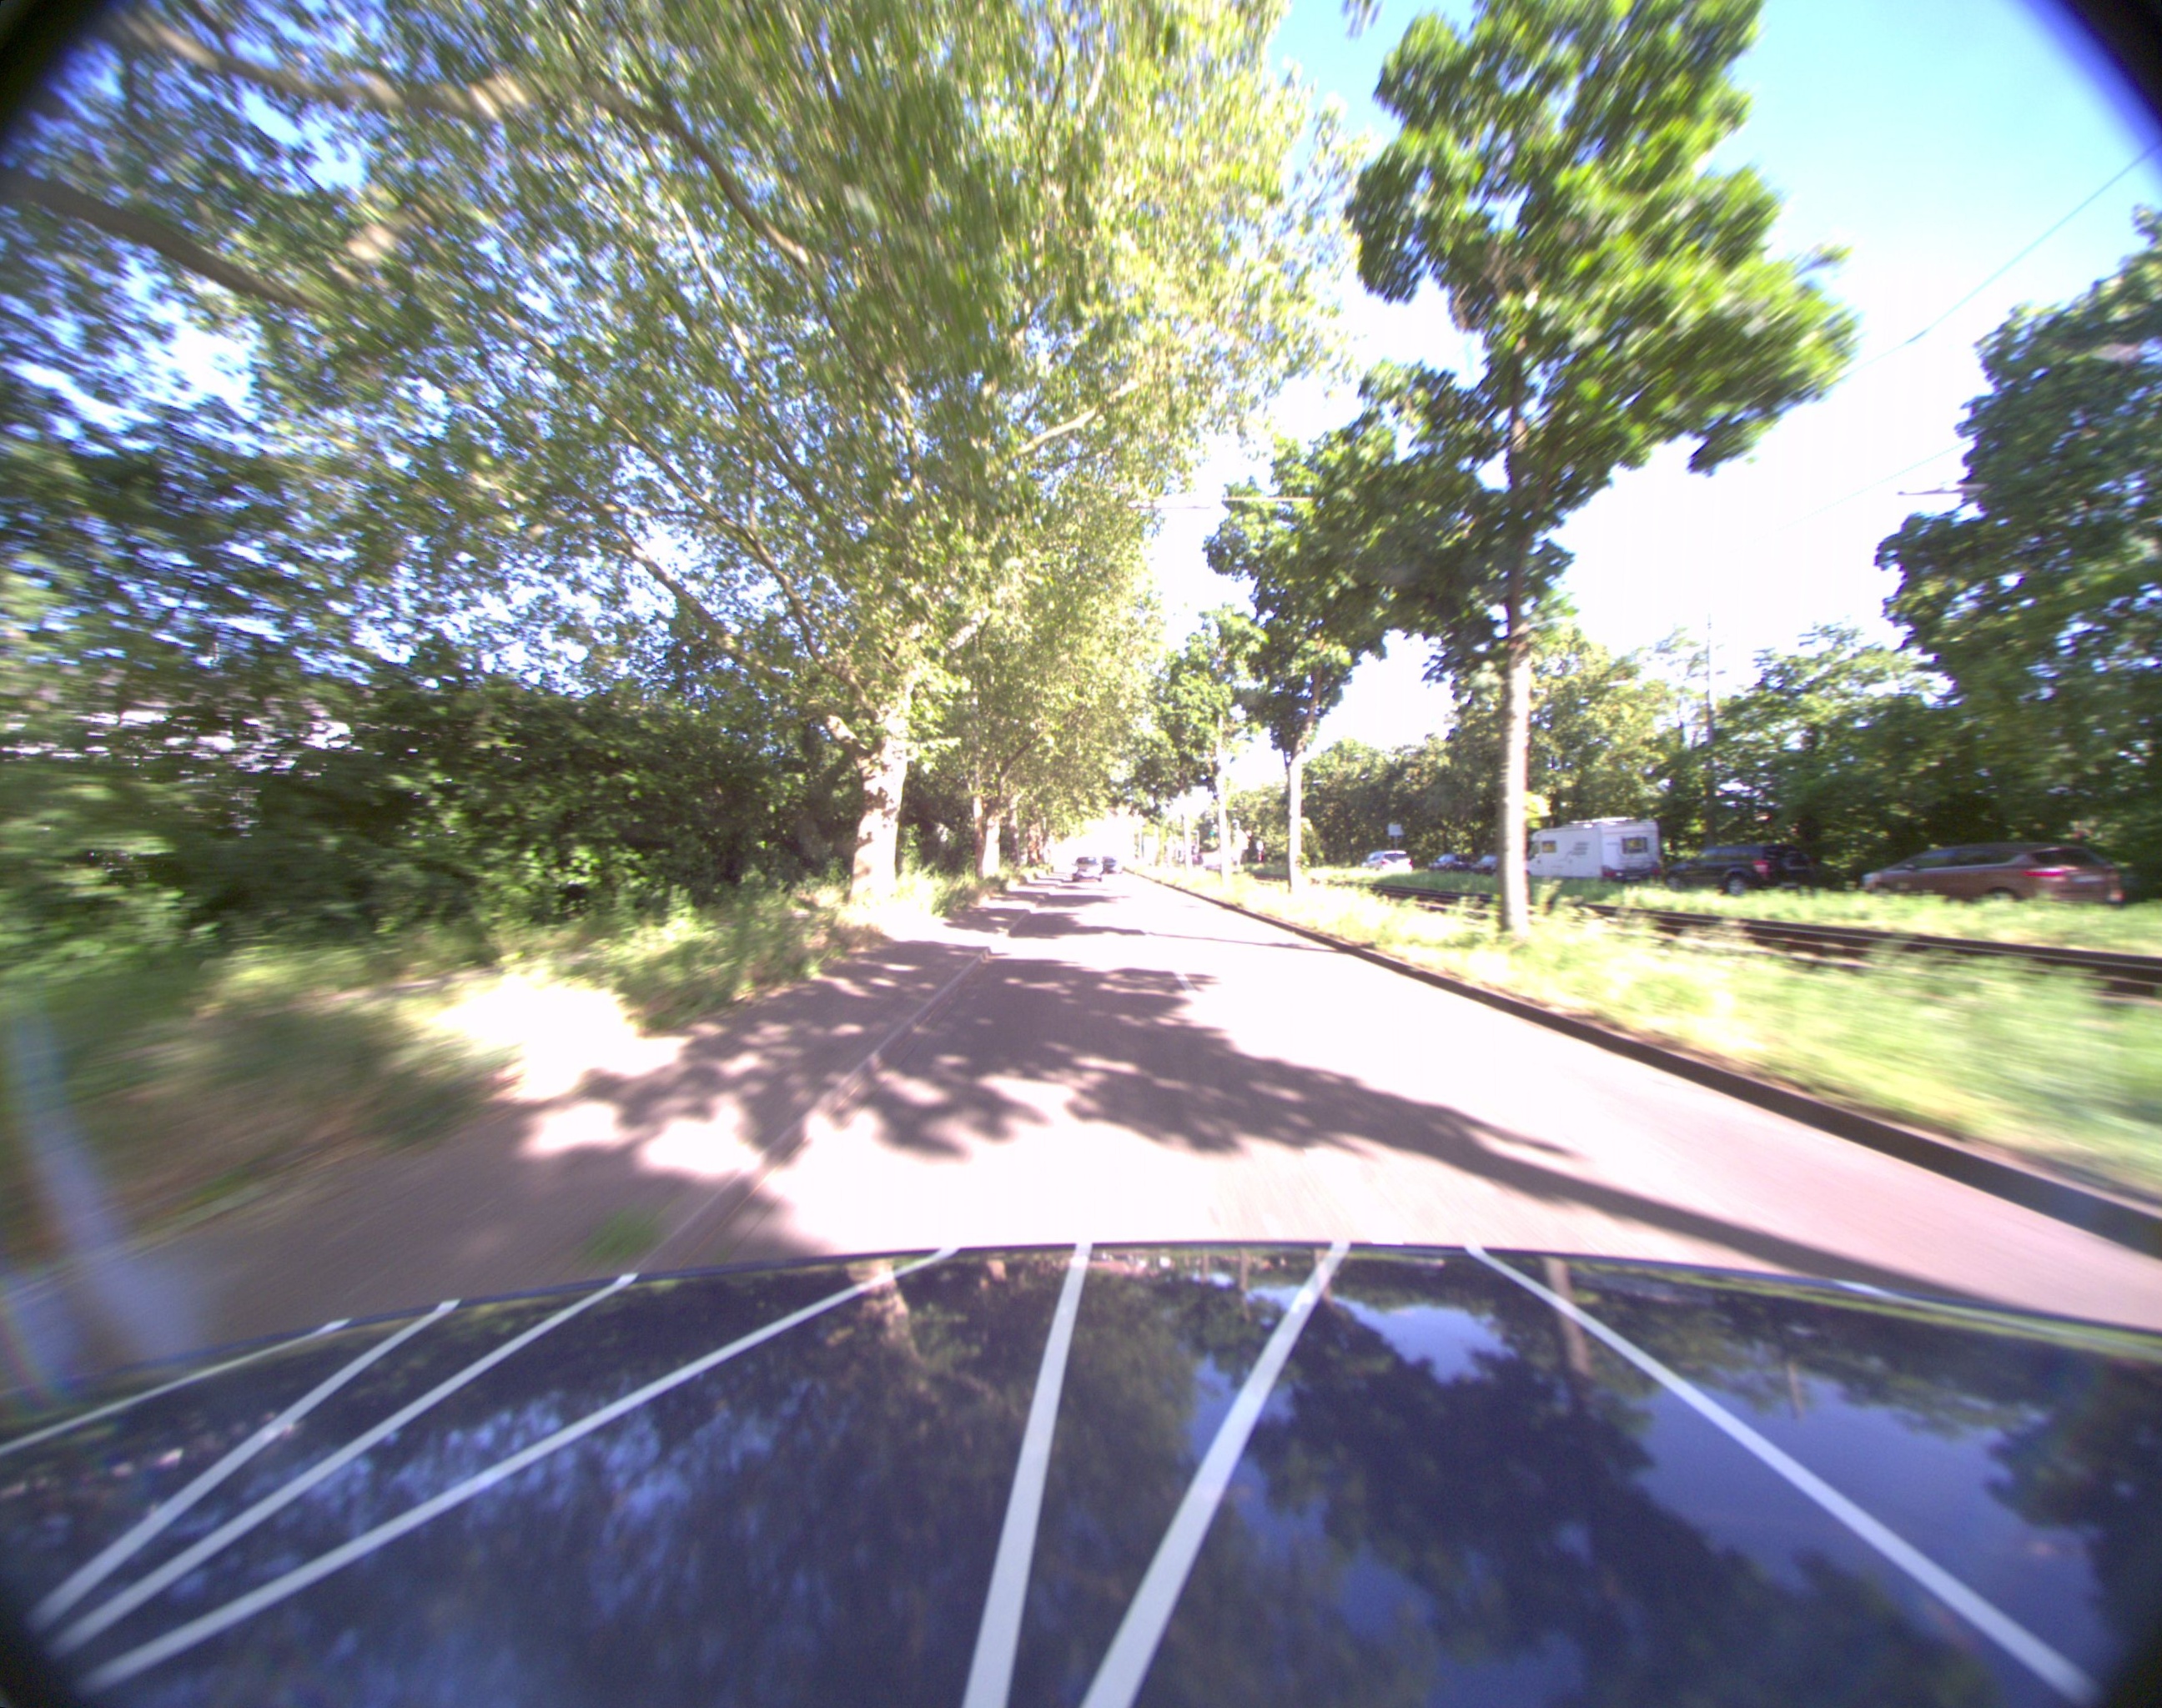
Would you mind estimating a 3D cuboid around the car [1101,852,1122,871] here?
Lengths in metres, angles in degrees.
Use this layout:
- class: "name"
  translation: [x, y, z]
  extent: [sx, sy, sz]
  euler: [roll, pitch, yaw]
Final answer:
- class: "car"
  translation: [2.636, 0.623, 66.085]
  extent: [1.714, 1.478, 3.547]
  euler: [-2, 0, 2]

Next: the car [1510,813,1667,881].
- class: "car"
  translation: [21.405, -0.247, 32.574]
  extent: [2.231, 2.565, 6.799]
  euler: [-2, 0, 1]

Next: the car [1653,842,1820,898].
- class: "car"
  translation: [21.431, 0.463, 25.135]
  extent: [1.626, 1.613, 4.532]
  euler: [-2, 0, 0]

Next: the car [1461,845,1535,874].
- class: "car"
  translation: [21.810, 0.257, 39.910]
  extent: [1.715, 1.426, 4.000]
  euler: [-2, 0, 2]

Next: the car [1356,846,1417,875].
- class: "car"
  translation: [17.526, 0.325, 43.799]
  extent: [1.731, 1.519, 4.442]
  euler: [-2, 0, 1]

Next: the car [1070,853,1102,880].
- class: "car"
  translation: [0.272, 0.724, 46.164]
  extent: [1.808, 1.478, 3.546]
  euler: [-2, 0, 0]

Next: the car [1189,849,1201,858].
- class: "car"
  translation: [20.313, -0.043, 135.233]
  extent: [1.640, 1.486, 4.592]
  euler: [2, 1, 2]

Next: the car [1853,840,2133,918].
- class: "car"
  translation: [21.338, 0.511, 18.105]
  extent: [1.678, 1.575, 4.248]
  euler: [-2, 0, 2]

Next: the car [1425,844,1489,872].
- class: "car"
  translation: [22.045, 0.210, 44.700]
  extent: [1.772, 1.554, 4.282]
  euler: [-1, 0, 3]
